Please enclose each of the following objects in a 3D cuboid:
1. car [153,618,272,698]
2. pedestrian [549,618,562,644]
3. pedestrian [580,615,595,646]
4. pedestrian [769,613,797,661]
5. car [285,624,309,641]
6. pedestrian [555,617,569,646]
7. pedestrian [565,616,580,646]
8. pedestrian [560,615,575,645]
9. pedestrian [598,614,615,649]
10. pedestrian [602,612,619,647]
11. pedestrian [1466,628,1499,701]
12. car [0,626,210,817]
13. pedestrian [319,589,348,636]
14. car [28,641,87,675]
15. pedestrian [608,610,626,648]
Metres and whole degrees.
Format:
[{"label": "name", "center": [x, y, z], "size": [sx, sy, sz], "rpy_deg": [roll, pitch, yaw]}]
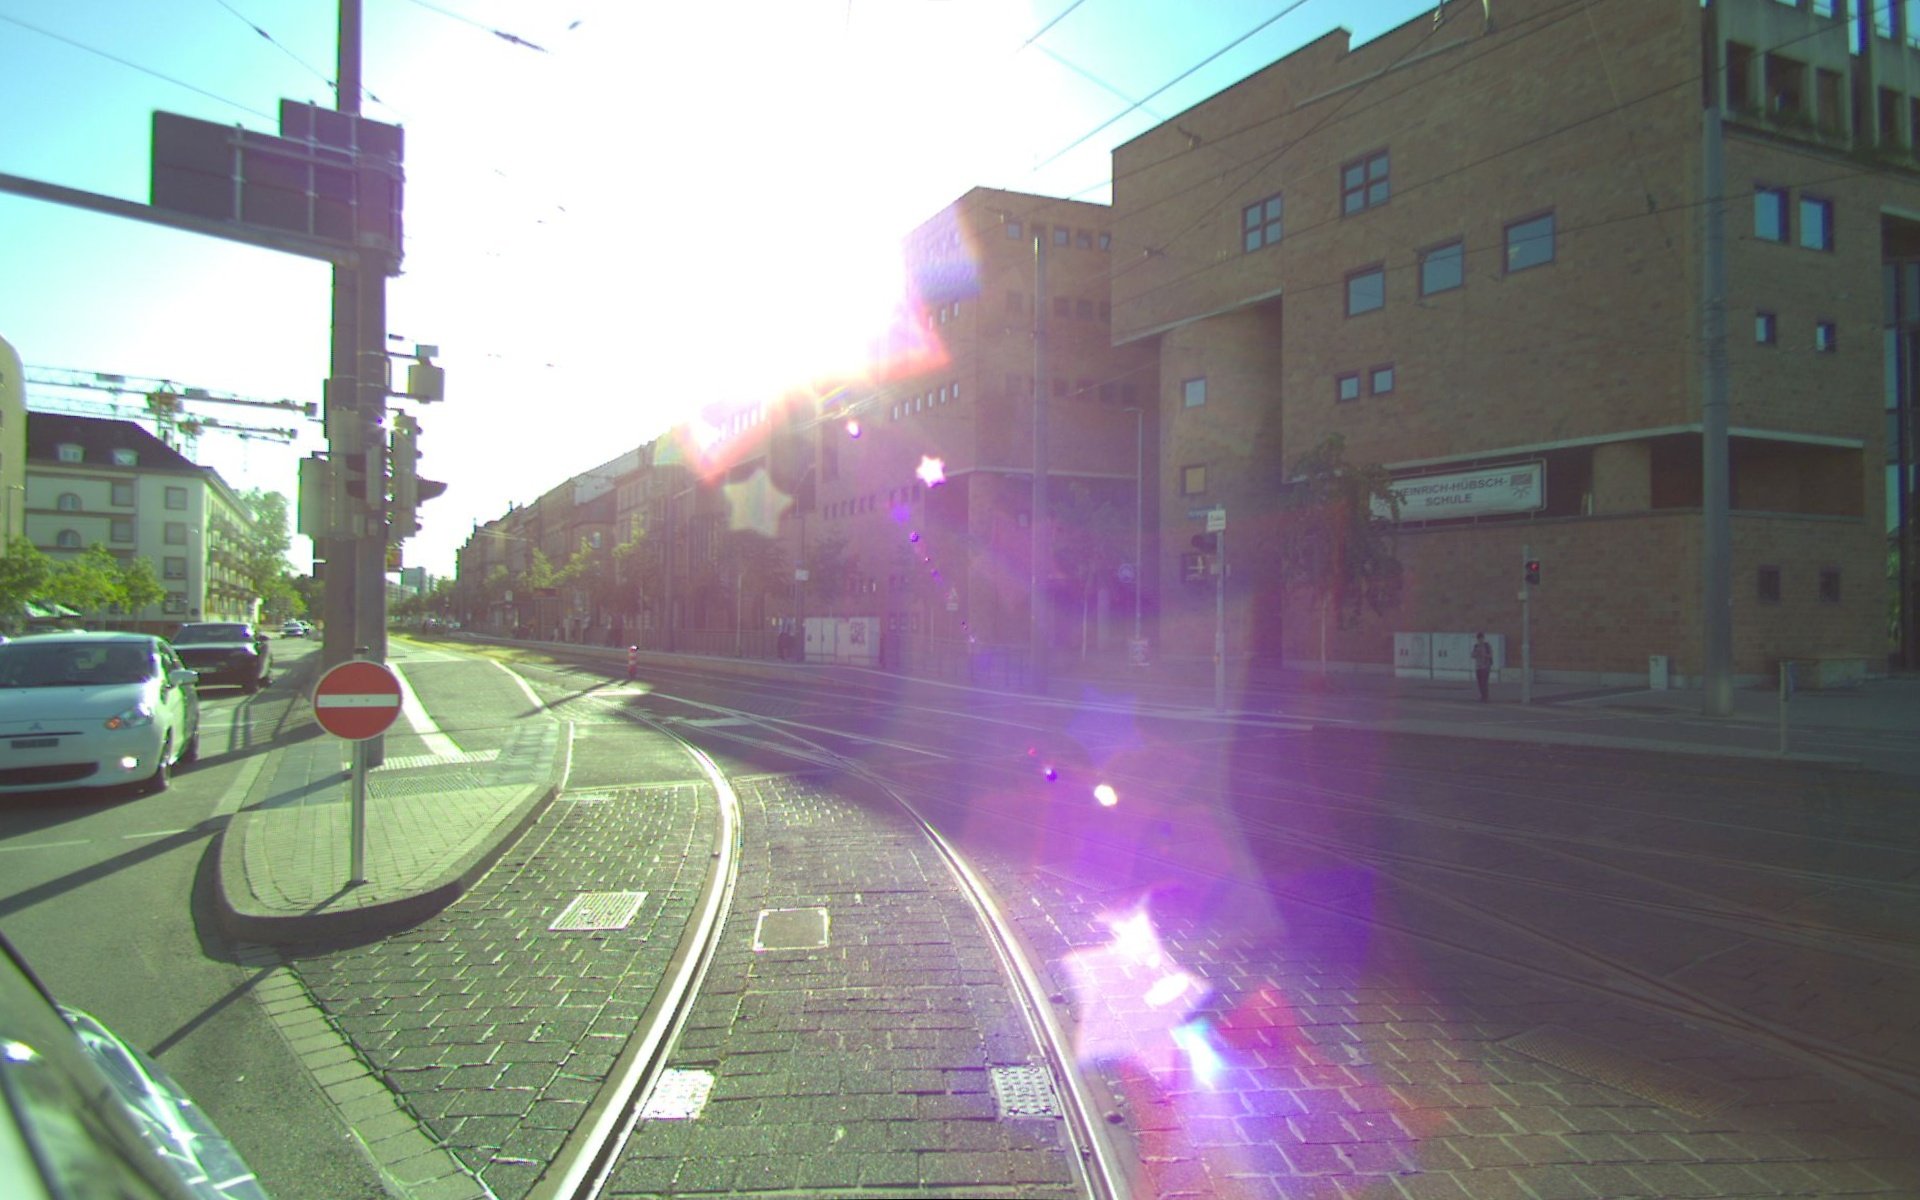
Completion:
[{"label": "car", "center": [-17.741, 1.287, 24.211], "size": [1.923, 1.674, 4.368], "rpy_deg": [-1, 0, -32]}, {"label": "pedestrian", "center": [-25.396, 1.947, 63.540], "size": [0.681, 1.587, 0.588], "rpy_deg": [1, -2, -34]}, {"label": "pedestrian", "center": [-20.825, 1.695, 56.592], "size": [0.681, 1.755, 0.588], "rpy_deg": [1, -2, -34]}, {"label": "pedestrian", "center": [-5.763, 1.208, 32.937], "size": [0.690, 1.546, 0.656], "rpy_deg": [1, -2, -34]}, {"label": "car", "center": [-66.318, 3.233, 101.235], "size": [1.799, 1.666, 3.694], "rpy_deg": [1, -2, -31]}, {"label": "pedestrian", "center": [-24.108, 1.908, 61.277], "size": [0.681, 1.755, 0.588], "rpy_deg": [1, -2, -34]}, {"label": "pedestrian", "center": [-22.617, 1.817, 59.046], "size": [0.681, 1.755, 0.588], "rpy_deg": [1, -2, -34]}, {"label": "pedestrian", "center": [-23.315, 1.782, 60.148], "size": [0.681, 1.755, 0.588], "rpy_deg": [1, -2, -34]}, {"label": "pedestrian", "center": [-18.065, 1.615, 51.775], "size": [0.681, 1.755, 0.588], "rpy_deg": [1, -2, -34]}, {"label": "pedestrian", "center": [-17.698, 1.508, 51.248], "size": [0.681, 1.755, 0.588], "rpy_deg": [1, -2, -34]}, {"label": "pedestrian", "center": [11.868, 1.452, 22.984], "size": [0.502, 1.629, 0.505], "rpy_deg": [-1, 0, -42]}, {"label": "car", "center": [-8.719, 1.040, 10.095], "size": [1.613, 1.477, 4.198], "rpy_deg": [-1, 0, -32]}, {"label": "pedestrian", "center": [-27.274, 0.538, 44.083], "size": [0.784, 2.029, 0.868], "rpy_deg": [-2, -2, 42]}, {"label": "car", "center": [-47.035, 3.003, 52.809], "size": [1.629, 1.541, 3.704], "rpy_deg": [-1, 0, -31]}, {"label": "pedestrian", "center": [-15.948, 1.352, 47.059], "size": [0.681, 1.755, 0.588], "rpy_deg": [1, -2, -34]}]
